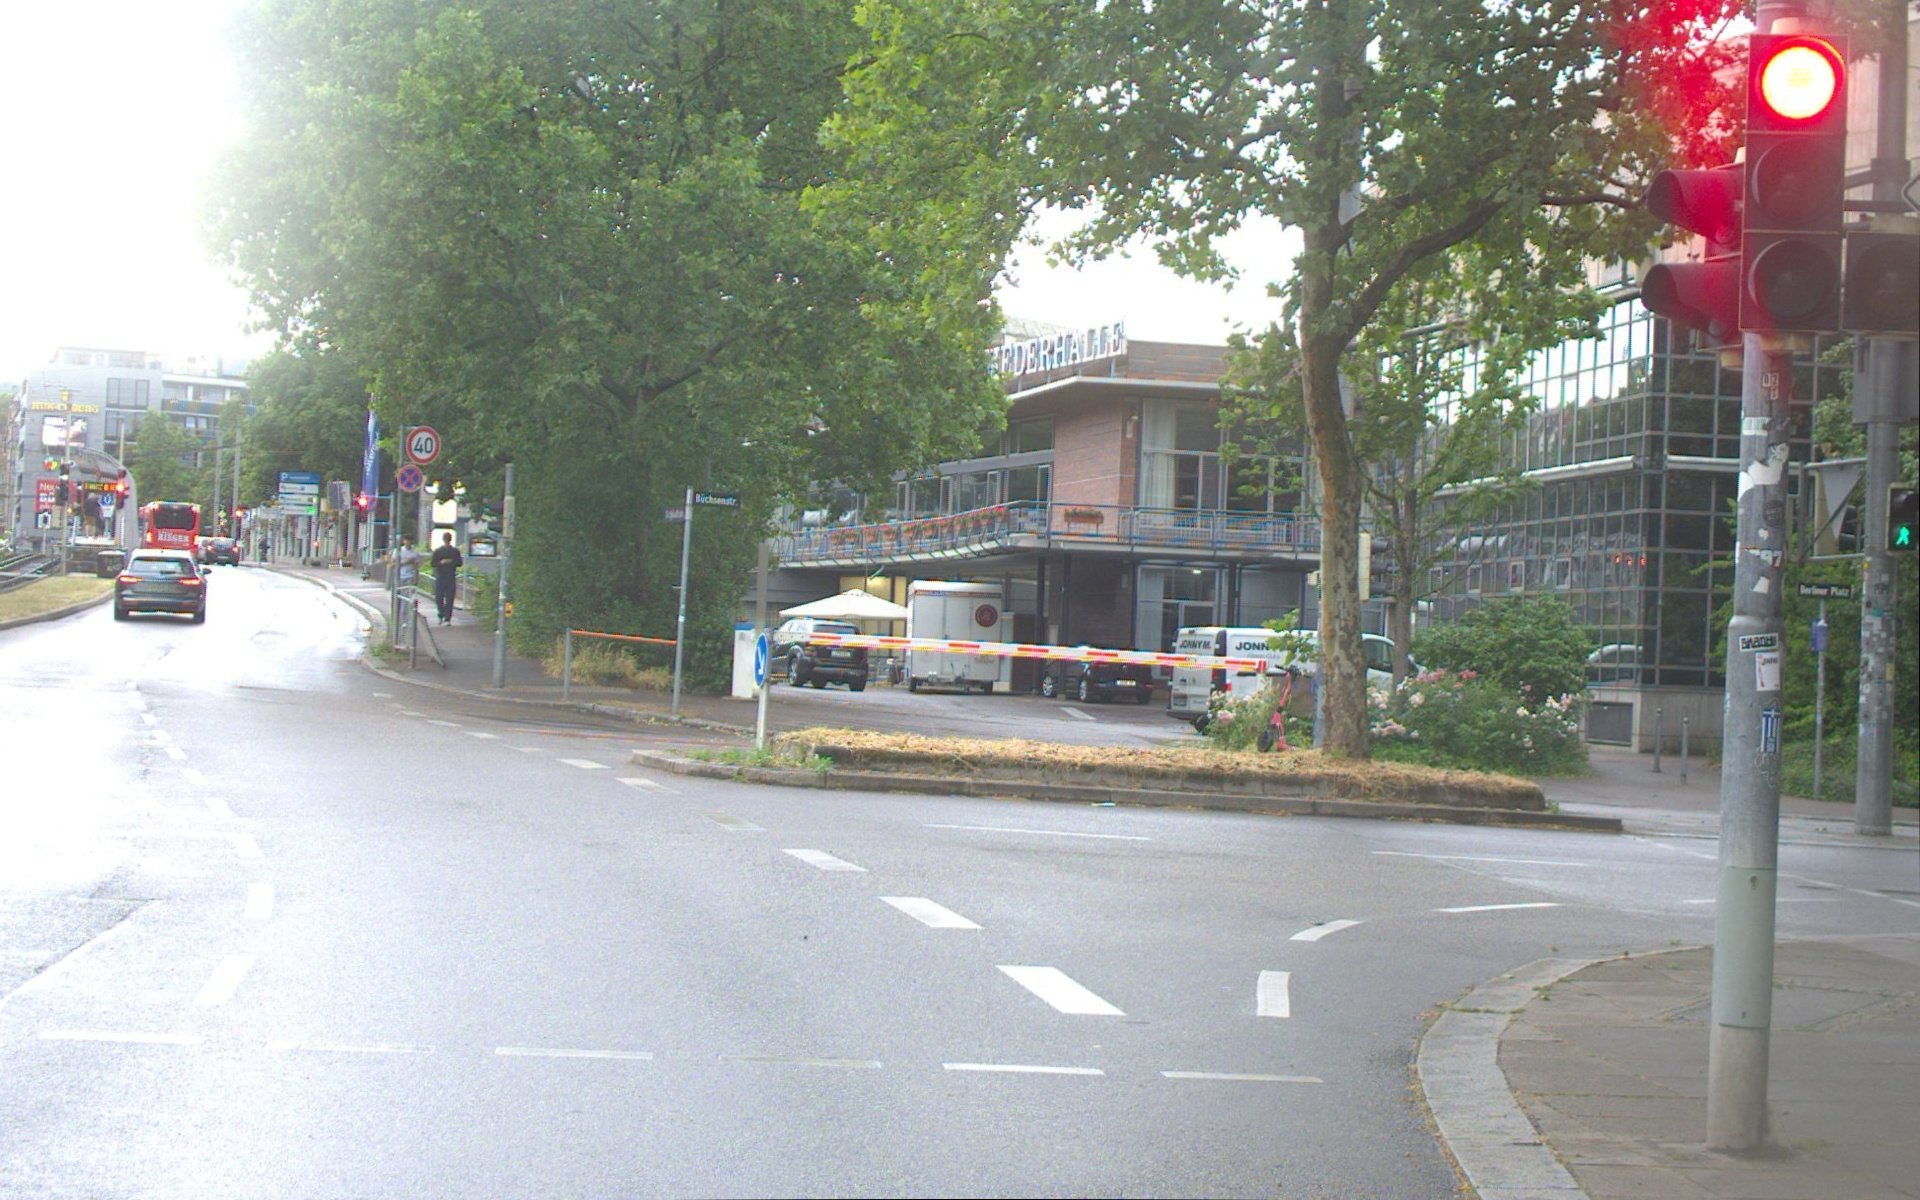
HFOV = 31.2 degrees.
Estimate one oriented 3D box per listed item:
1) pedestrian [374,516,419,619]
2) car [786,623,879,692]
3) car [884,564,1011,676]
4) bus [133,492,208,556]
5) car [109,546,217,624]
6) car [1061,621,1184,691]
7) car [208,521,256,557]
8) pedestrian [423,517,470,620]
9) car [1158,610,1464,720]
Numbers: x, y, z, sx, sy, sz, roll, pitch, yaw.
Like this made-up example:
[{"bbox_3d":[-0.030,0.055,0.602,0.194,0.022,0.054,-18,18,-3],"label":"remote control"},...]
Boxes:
[{"bbox_3d":[-11.063,-0.638,67.546,0.814,2.007,1.077,1,0,-8],"label":"pedestrian"},{"bbox_3d":[-3.245,1.455,87.956,2.019,1.546,4.350,3,1,2],"label":"car"},{"bbox_3d":[-0.393,0.478,91.398,2.731,2.686,6.923,3,1,-5],"label":"car"},{"bbox_3d":[-40.512,-3.856,176.418,3.589,3.160,10.423,1,1,-13],"label":"bus"},{"bbox_3d":[-16.207,-0.324,70.050,1.993,1.514,4.351,1,1,-11],"label":"car"},{"bbox_3d":[4.174,1.435,89.160,2.019,1.546,4.351,3,1,-13],"label":"car"},{"bbox_3d":[-38.422,-3.202,181.401,2.362,1.810,5.185,1,1,-13],"label":"car"},{"bbox_3d":[-10.156,-0.630,67.987,0.874,2.007,1.077,1,0,-8],"label":"pedestrian"},{"bbox_3d":[6.359,1.176,62.214,5.198,1.725,1.875,3,1,-25],"label":"car"}]
